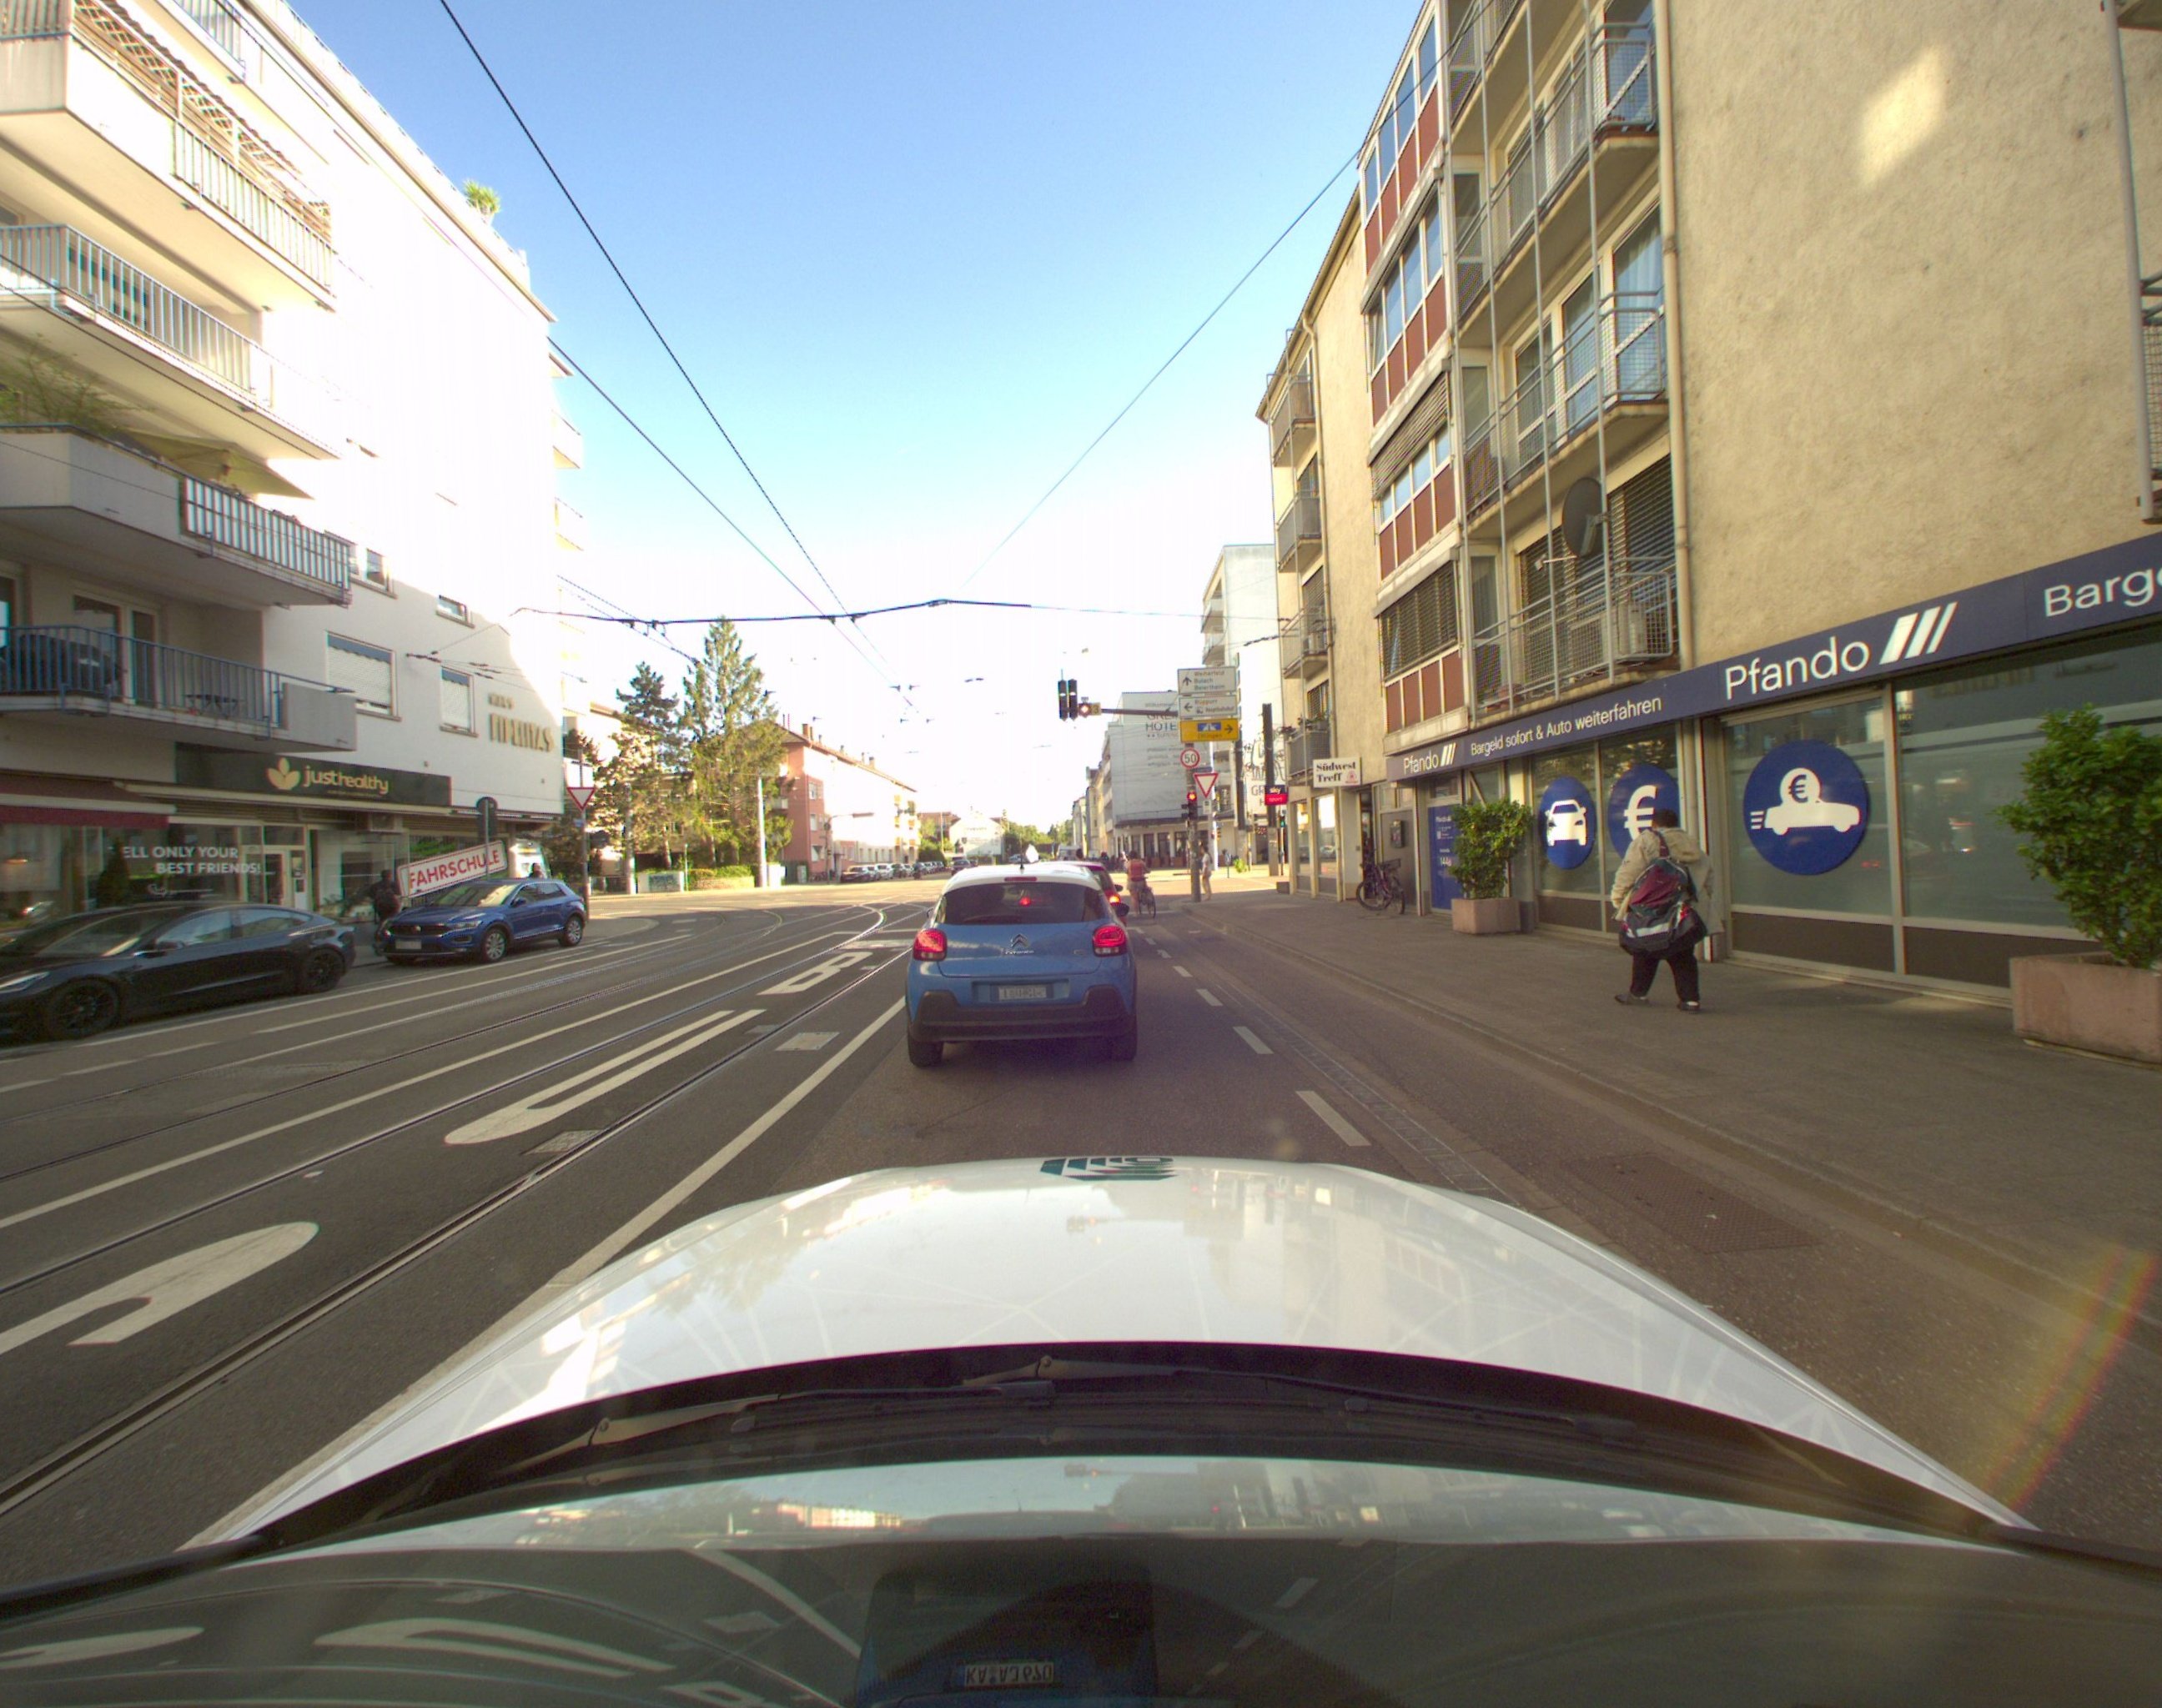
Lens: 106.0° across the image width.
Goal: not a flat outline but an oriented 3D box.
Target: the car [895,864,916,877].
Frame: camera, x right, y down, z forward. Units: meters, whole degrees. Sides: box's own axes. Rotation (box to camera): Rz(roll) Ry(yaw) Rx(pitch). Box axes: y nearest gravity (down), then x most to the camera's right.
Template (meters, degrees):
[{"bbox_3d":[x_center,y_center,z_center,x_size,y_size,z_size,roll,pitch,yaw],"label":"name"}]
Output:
[{"bbox_3d":[-19.980,1.846,92.766,1.728,1.498,3.996,0,-1,-2],"label":"car"}]

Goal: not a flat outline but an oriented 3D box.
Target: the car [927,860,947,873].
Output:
[{"bbox_3d":[-18.848,1.671,106.827,1.978,1.687,3.998,0,-1,-1],"label":"car"}]

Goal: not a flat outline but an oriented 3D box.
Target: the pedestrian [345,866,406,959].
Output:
[{"bbox_3d":[-13.910,1.135,16.079,0.569,1.805,0.699,0,-1,1],"label":"pedestrian"}]

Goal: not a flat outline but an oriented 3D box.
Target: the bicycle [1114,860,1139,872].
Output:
[{"bbox_3d":[3.432,0.911,61.704,1.837,0.903,0.352,-1,-1,21],"label":"bicycle"}]

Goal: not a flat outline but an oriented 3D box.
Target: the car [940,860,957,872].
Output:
[{"bbox_3d":[-19.116,1.701,117.344,1.828,1.687,3.998,0,-1,-1],"label":"car"}]

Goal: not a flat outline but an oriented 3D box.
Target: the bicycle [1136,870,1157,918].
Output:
[{"bbox_3d":[1.642,0.977,20.640,0.426,1.123,1.999,0,-1,2],"label":"bicycle"}]

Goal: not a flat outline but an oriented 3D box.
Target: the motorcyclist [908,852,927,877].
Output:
[{"bbox_3d":[-13.598,0.883,67.759,1.182,2.013,1.275,-2,0,-1],"label":"motorcyclist"}]

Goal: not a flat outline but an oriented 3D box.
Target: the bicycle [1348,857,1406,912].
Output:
[{"bbox_3d":[5.695,0.565,15.731,0.540,0.998,1.706,0,-1,2],"label":"bicycle"}]

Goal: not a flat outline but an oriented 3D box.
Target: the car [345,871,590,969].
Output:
[{"bbox_3d":[-11.985,1.197,16.315,1.864,1.531,4.068,-2,0,-2],"label":"car"}]

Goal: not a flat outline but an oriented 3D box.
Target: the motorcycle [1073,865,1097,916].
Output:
[{"bbox_3d":[0.114,0.837,19.563,0.524,1.139,2.290,0,-1,2],"label":"motorcycle"}]

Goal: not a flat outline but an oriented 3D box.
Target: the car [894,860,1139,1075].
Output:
[{"bbox_3d":[-0.382,0.780,7.264,1.648,1.444,3.524,0,-1,2],"label":"car"}]

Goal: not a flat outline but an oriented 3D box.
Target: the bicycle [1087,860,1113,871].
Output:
[{"bbox_3d":[1.566,0.952,67.707,2.130,0.901,0.366,0,-1,-7],"label":"bicycle"}]

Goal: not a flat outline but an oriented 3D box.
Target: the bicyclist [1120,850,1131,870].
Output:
[{"bbox_3d":[3.380,0.440,61.734,0.739,1.477,0.565,-1,-1,20],"label":"bicyclist"}]

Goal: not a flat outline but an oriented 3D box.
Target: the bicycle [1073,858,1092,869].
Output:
[{"bbox_3d":[0.126,0.824,69.576,1.765,0.901,0.369,-1,-1,36],"label":"bicycle"}]

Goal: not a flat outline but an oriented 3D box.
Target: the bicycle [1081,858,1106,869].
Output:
[{"bbox_3d":[1.054,0.820,68.448,2.130,0.901,0.366,0,-1,-7],"label":"bicycle"}]

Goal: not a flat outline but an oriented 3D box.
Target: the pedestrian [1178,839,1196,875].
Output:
[{"bbox_3d":[6.102,0.173,46.867,0.922,2.014,0.760,0,-1,1],"label":"pedestrian"}]

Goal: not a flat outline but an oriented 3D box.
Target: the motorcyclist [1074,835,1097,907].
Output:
[{"bbox_3d":[0.121,0.404,19.755,0.524,1.716,0.717,0,-1,1],"label":"motorcyclist"}]

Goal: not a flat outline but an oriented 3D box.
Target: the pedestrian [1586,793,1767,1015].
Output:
[{"bbox_3d":[4.515,0.365,6.234,0.822,1.593,0.751,0,-1,1],"label":"pedestrian"}]

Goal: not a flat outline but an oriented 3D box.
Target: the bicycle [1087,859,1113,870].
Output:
[{"bbox_3d":[1.601,0.868,67.309,2.130,0.901,0.366,0,-1,-7],"label":"bicycle"}]

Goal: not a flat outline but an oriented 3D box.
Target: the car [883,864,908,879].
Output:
[{"bbox_3d":[-19.653,1.845,86.546,1.781,1.498,3.998,0,-1,-1],"label":"car"}]

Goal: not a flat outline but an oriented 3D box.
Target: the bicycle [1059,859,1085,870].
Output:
[{"bbox_3d":[-0.714,0.878,66.424,2.130,0.901,0.366,0,-1,-7],"label":"bicycle"}]

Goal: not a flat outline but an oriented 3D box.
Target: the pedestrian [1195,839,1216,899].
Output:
[{"bbox_3d":[3.716,0.442,24.306,0.515,1.783,0.595,0,-1,0],"label":"pedestrian"}]

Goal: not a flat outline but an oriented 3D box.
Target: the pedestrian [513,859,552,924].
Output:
[{"bbox_3d":[-17.259,1.174,25.640,0.767,2.014,0.694,0,-1,-4],"label":"pedestrian"}]

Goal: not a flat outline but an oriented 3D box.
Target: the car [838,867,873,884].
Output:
[{"bbox_3d":[-19.167,1.810,69.445,1.787,1.421,3.996,0,0,1],"label":"car"}]

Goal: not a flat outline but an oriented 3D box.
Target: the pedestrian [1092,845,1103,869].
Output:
[{"bbox_3d":[1.383,0.224,69.319,0.635,2.014,0.717,0,-1,-34],"label":"pedestrian"}]

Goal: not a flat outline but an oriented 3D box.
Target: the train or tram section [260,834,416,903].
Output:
[{"bbox_3d":[-42.203,0.812,46.202,8.976,3.631,2.849,-1,-1,22],"label":"train or tram section"}]

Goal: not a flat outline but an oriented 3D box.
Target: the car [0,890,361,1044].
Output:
[{"bbox_3d":[-12.088,1.293,10.447,1.816,1.387,4.425,-2,0,-2],"label":"car"}]

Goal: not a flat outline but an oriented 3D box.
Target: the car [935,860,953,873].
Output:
[{"bbox_3d":[-18.800,1.678,112.042,1.877,1.687,3.998,0,-1,-1],"label":"car"}]

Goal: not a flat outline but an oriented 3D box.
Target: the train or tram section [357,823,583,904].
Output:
[{"bbox_3d":[-31.586,0.577,41.947,12.480,3.594,3.088,-2,-1,21],"label":"train or tram section"}]

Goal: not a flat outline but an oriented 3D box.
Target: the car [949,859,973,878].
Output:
[{"bbox_3d":[-11.305,1.339,76.855,1.770,1.666,3.854,0,-1,-2],"label":"car"}]

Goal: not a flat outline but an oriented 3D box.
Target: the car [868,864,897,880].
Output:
[{"bbox_3d":[-19.431,1.740,80.000,1.781,1.511,4.150,0,-1,1],"label":"car"}]

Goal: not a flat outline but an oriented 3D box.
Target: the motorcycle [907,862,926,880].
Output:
[{"bbox_3d":[-13.573,1.399,67.375,0.921,1.486,3.724,0,-1,-1],"label":"motorcycle"}]

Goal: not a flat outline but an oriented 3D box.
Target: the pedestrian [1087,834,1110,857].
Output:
[{"bbox_3d":[1.629,-0.727,73.696,1.986,2.014,4.001,0,-1,2],"label":"pedestrian"}]

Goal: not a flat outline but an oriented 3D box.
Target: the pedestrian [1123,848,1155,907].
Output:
[{"bbox_3d":[1.446,0.580,20.357,0.774,1.460,0.682,0,-1,1],"label":"pedestrian"}]

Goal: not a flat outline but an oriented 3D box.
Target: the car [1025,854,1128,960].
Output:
[{"bbox_3d":[-0.016,0.777,13.188,1.419,1.467,2.925,-2,-1,2],"label":"car"}]

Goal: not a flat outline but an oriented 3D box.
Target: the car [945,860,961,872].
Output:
[{"bbox_3d":[-19.123,1.760,121.941,1.841,1.687,3.872,0,-1,-1],"label":"car"}]

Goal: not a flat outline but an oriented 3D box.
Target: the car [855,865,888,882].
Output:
[{"bbox_3d":[-19.337,1.788,75.233,1.808,1.498,4.302,0,0,2],"label":"car"}]

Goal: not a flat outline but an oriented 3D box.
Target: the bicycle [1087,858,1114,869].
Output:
[{"bbox_3d":[1.592,0.772,66.003,2.130,0.901,0.366,0,-1,-7],"label":"bicycle"}]

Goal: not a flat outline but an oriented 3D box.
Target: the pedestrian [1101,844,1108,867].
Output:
[{"bbox_3d":[2.042,0.149,70.438,0.575,2.014,0.625,0,-1,-1],"label":"pedestrian"}]
